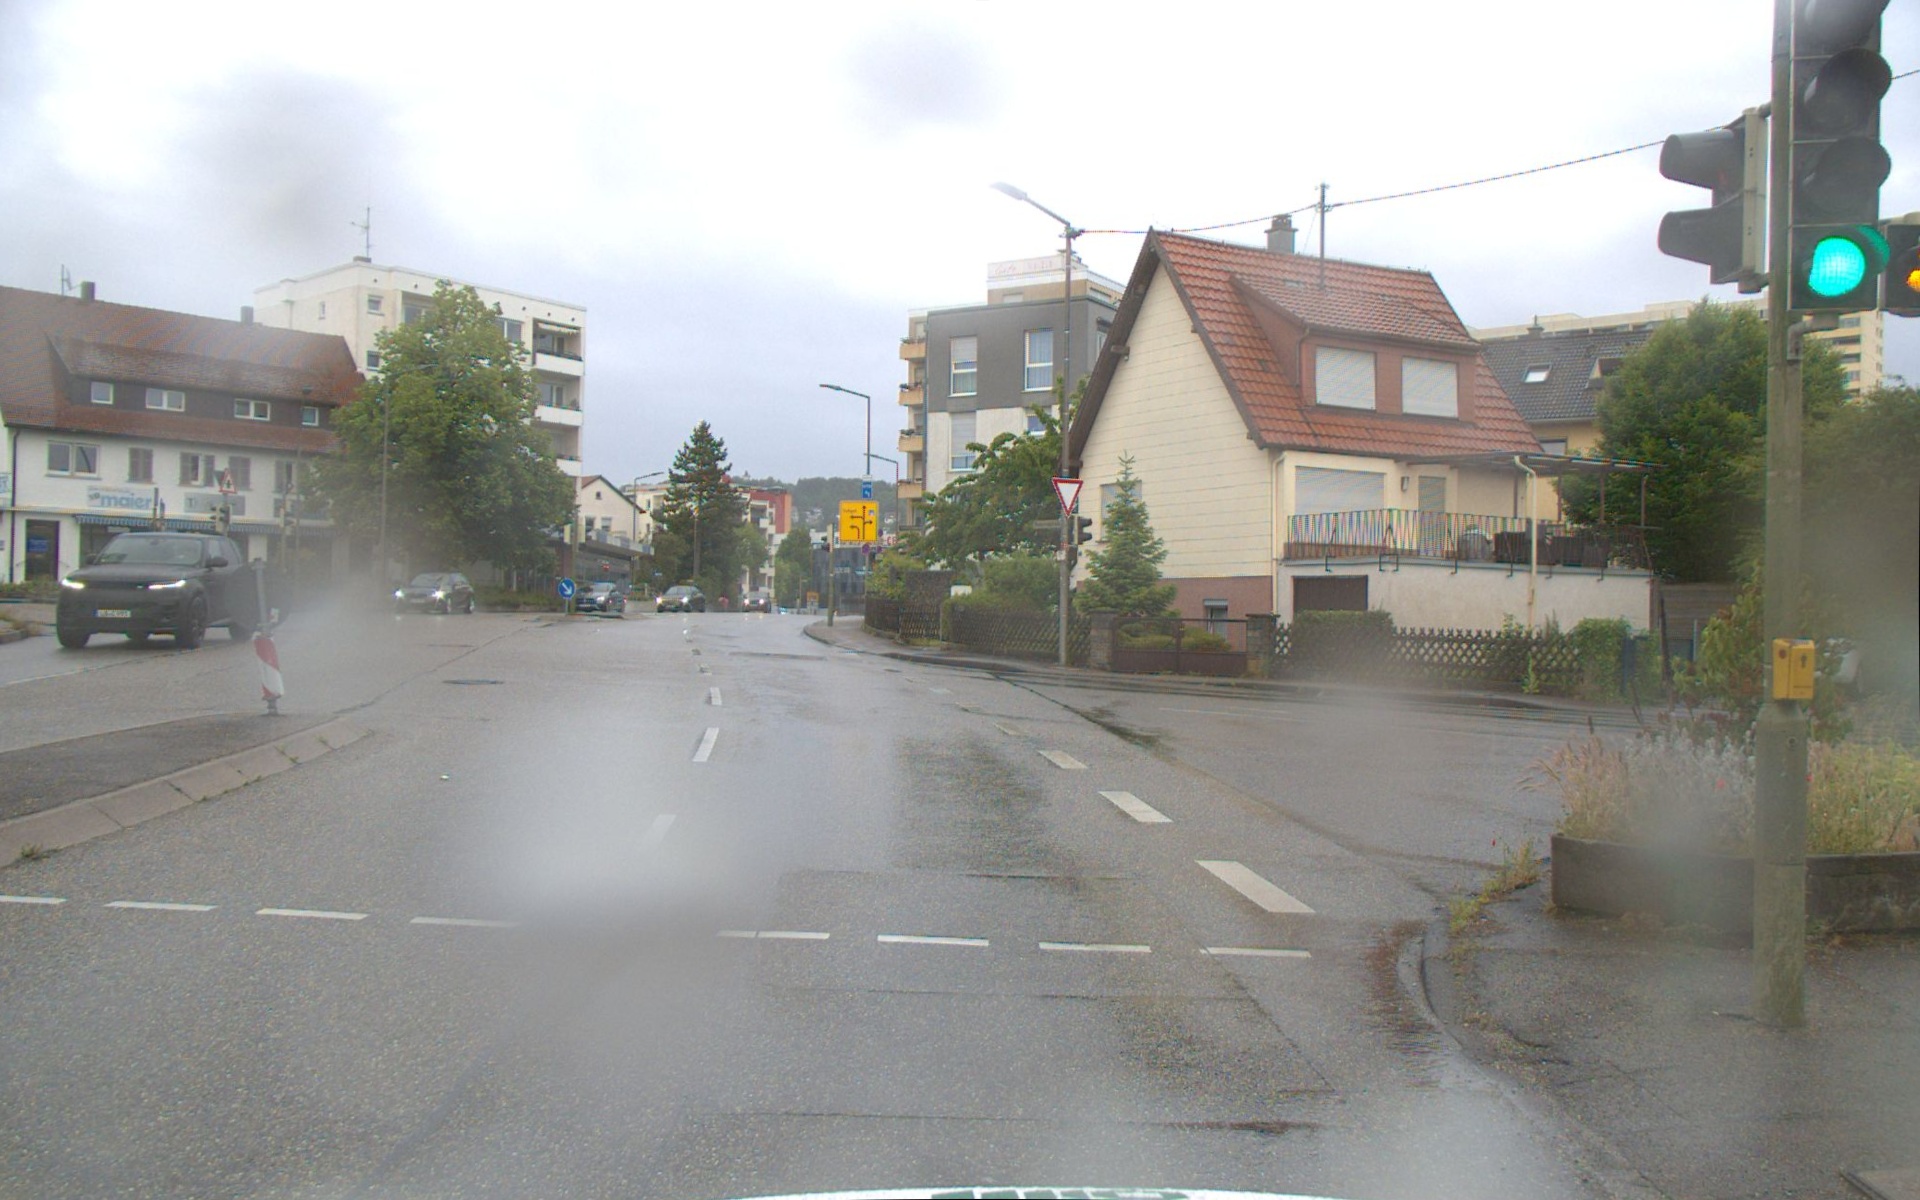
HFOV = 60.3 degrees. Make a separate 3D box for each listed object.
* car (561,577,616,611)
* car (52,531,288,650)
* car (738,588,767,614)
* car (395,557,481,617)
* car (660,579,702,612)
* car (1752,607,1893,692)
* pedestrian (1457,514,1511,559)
[{"bbox_3d":[-17.348,-0.260,77.355,1.955,1.489,3.995,1,0,-5],"label":"car"},{"bbox_3d":[-13.029,-0.132,27.681,1.956,1.768,5.173,1,0,-7],"label":"car"},{"bbox_3d":[-15.341,0.076,122.255,1.955,1.843,3.995,1,0,-5],"label":"car"},{"bbox_3d":[-17.809,-0.421,56.562,1.955,1.937,3.995,1,0,-5],"label":"car"},{"bbox_3d":[-15.156,-0.253,90.004,1.955,1.708,3.995,1,0,-5],"label":"car"},{"bbox_3d":[15.623,0.858,29.882,1.780,1.386,3.986,1,0,35],"label":"car"},{"bbox_3d":[11.153,-1.341,35.182,0.902,0.898,0.632,1,-2,-20],"label":"pedestrian"}]
